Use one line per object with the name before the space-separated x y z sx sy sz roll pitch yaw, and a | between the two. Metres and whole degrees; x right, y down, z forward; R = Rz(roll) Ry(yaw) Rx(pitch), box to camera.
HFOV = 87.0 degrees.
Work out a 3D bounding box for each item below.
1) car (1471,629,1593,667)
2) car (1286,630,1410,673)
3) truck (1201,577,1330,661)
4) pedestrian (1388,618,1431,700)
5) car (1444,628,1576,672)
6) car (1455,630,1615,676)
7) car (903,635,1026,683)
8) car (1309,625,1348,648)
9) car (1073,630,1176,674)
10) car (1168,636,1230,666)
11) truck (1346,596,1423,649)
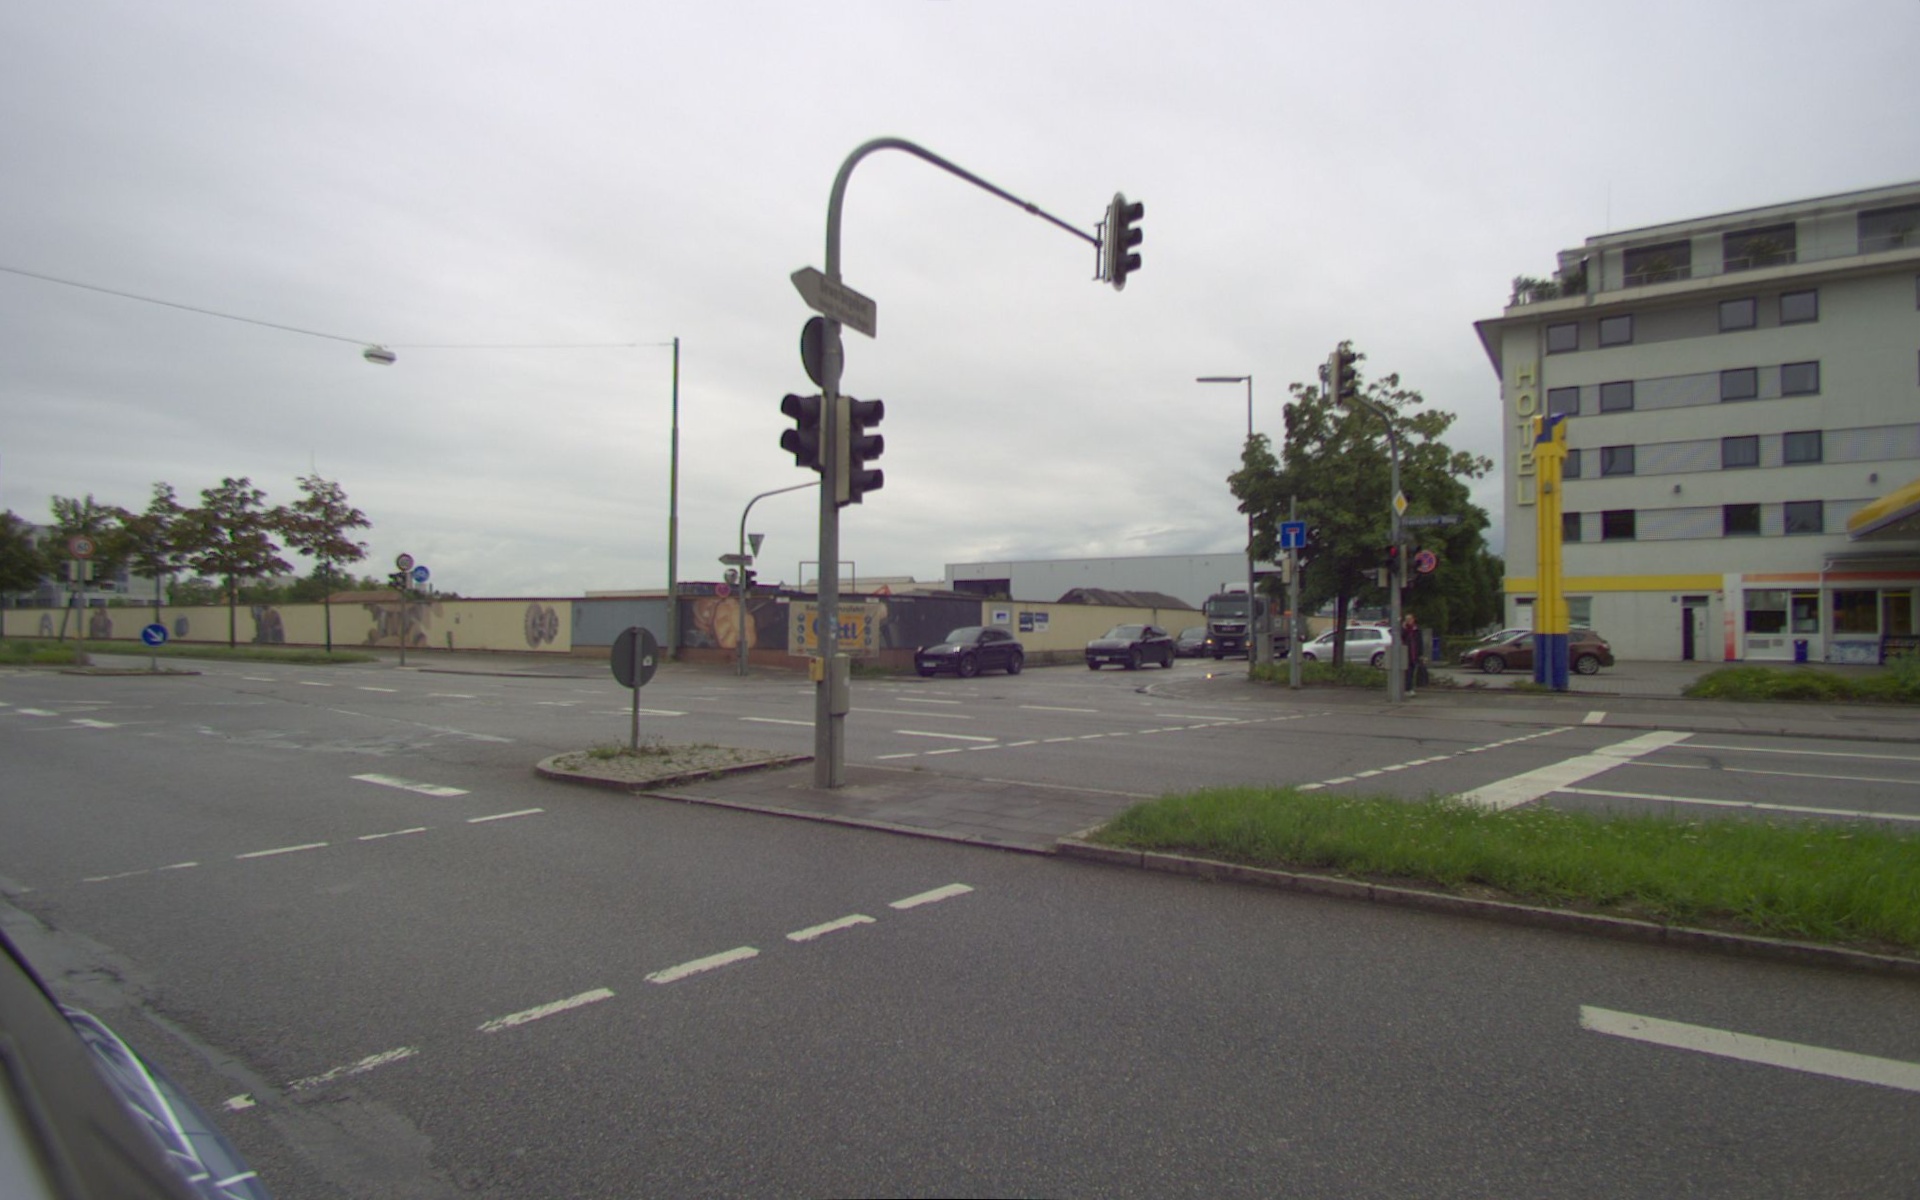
car | 23.232 1.930 41.138 4.181 1.489 1.887 -1 -4 34
car | 14.075 1.851 36.789 3.965 1.497 1.611 -1 -3 32
truck | 16.125 1.041 52.585 2.605 3.885 11.789 -1 -2 36
pedestrian | 9.300 1.197 20.940 0.685 1.627 0.796 -1 0 33
car | 19.620 1.765 36.168 3.969 1.497 1.609 -1 -4 36
car | 18.580 1.702 32.924 4.337 1.395 1.690 0 -3 24
car | 0.214 1.895 33.455 1.996 1.439 4.212 -1 -2 36
car | 28.351 2.831 77.719 1.869 1.719 4.055 -1 -4 34
car | 6.284 1.932 38.331 1.996 1.544 4.576 -1 -2 36
car | 12.616 2.659 53.385 1.761 1.487 3.950 -1 -2 37
truck | 33.118 1.775 78.629 2.874 3.861 11.789 -1 -2 36
